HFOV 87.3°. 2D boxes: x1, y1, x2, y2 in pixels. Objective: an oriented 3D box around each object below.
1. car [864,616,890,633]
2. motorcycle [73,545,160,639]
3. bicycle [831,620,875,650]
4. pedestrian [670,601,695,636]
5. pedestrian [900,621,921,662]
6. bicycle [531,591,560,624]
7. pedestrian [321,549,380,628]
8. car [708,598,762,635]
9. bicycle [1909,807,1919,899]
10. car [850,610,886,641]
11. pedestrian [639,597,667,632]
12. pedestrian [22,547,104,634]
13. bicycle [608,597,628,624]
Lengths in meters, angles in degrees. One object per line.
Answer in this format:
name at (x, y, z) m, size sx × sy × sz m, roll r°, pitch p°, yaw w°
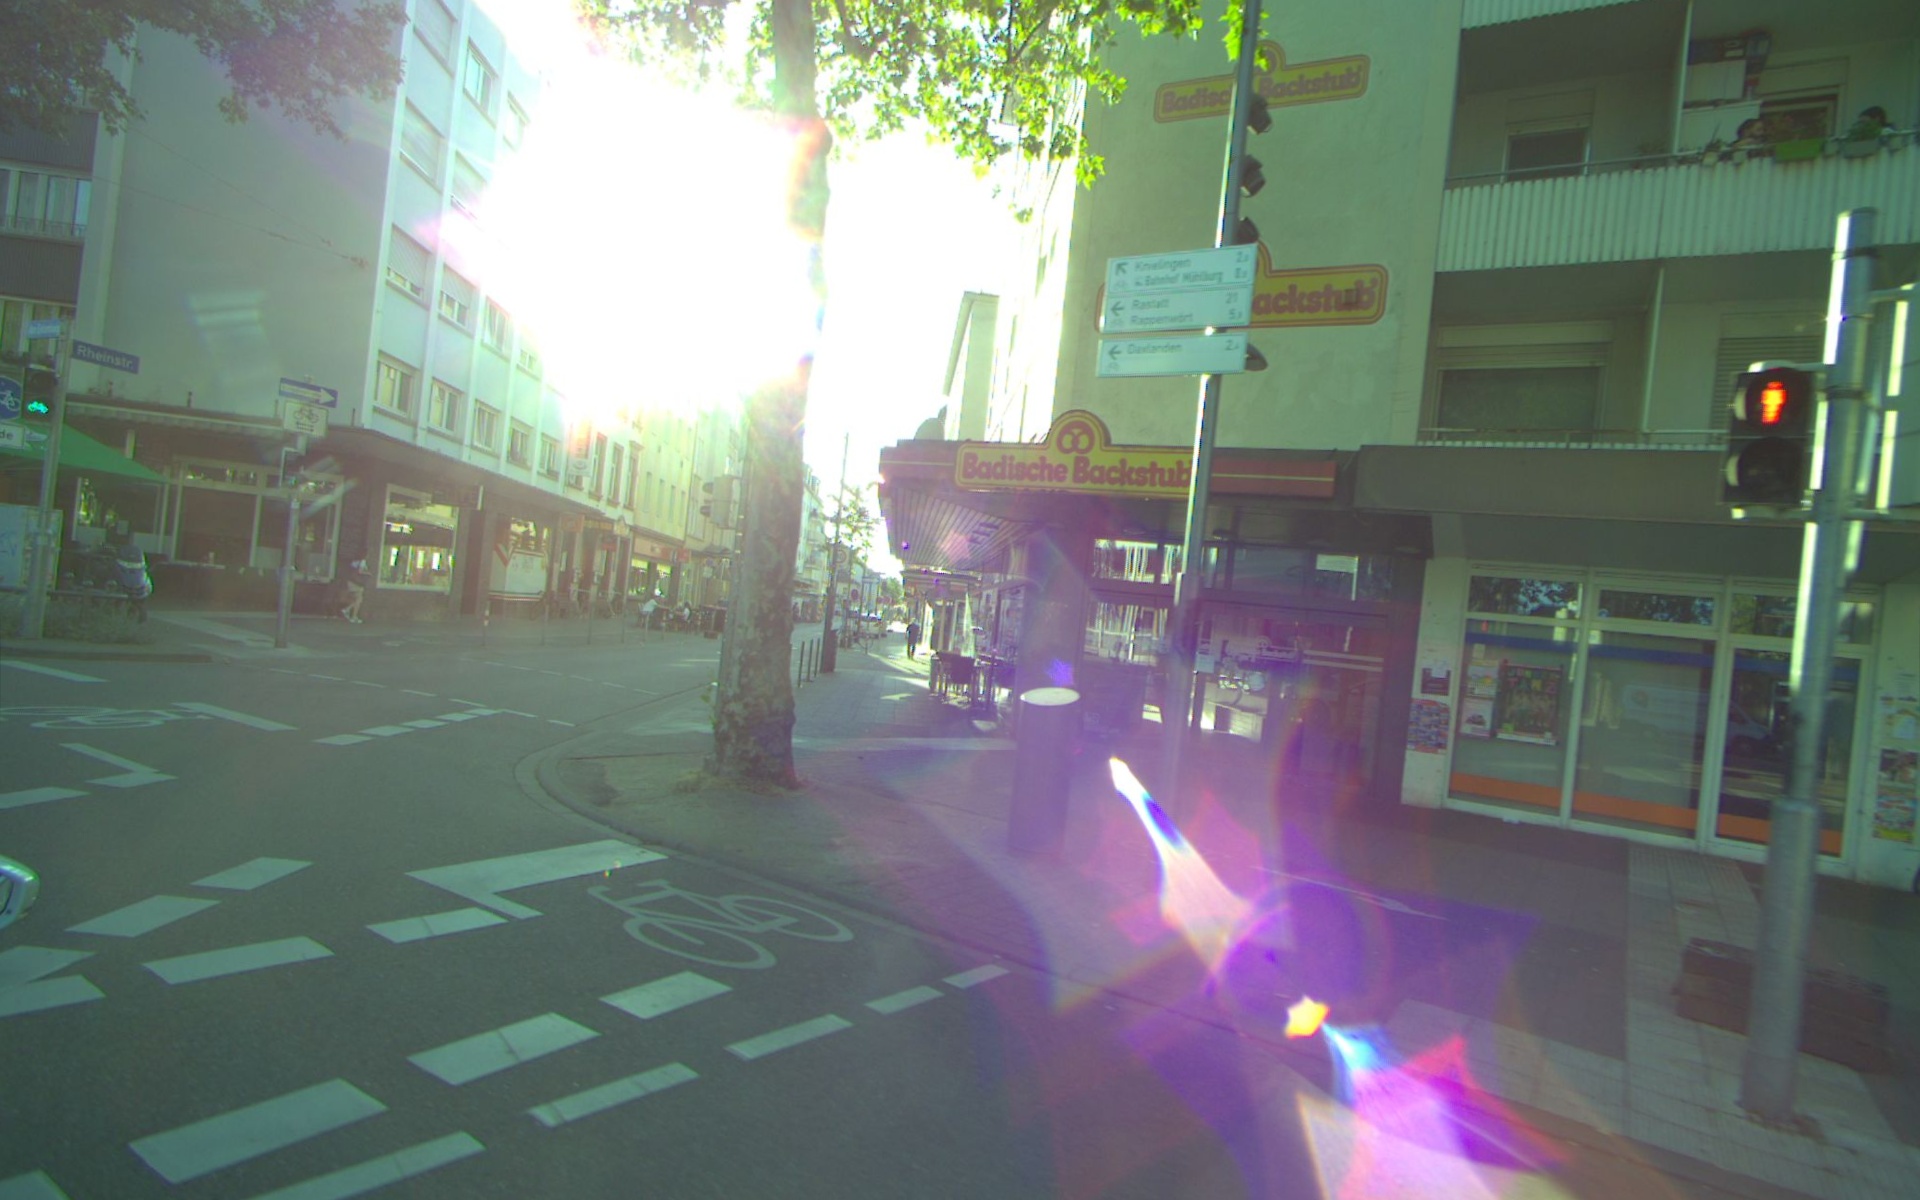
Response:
car at (-7.406, 2.210, 89.734) m, size 1.808 × 1.238 × 4.004 m, roll 8°, pitch -3°, yaw 1°
motorcycle at (-11.824, -0.125, 14.094) m, size 1.440 × 1.171 × 0.570 m, roll 5°, pitch -3°, yaw 40°
bicycle at (-4.899, 1.593, 46.199) m, size 1.877 × 1.138 × 0.509 m, roll 7°, pitch 0°, yaw -4°
pedestrian at (-10.807, 0.729, 39.225) m, size 0.682 × 1.257 × 0.598 m, roll 8°, pitch -2°, yaw -6°
pedestrian at (-2.043, 1.696, 41.428) m, size 0.654 × 1.593 × 0.694 m, roll 8°, pitch -1°, yaw -4°
bicycle at (-13.686, 0.267, 33.214) m, size 0.289 × 1.053 × 1.718 m, roll 4°, pitch -1°, yaw -4°
pedestrian at (-13.096, -0.236, 21.631) m, size 0.703 × 1.566 × 0.604 m, roll 8°, pitch -1°, yaw -3°
car at (-11.157, 0.814, 50.123) m, size 1.809 × 1.513 × 3.999 m, roll 8°, pitch -1°, yaw -3°
bicycle at (9.437, 2.239, 8.836) m, size 1.437 × 1.107 × 0.437 m, roll 6°, pitch 2°, yaw 31°
car at (-6.010, 1.685, 66.148) m, size 1.808 × 1.680 × 4.004 m, roll 8°, pitch -3°, yaw 1°
pedestrian at (-11.880, 0.562, 38.982) m, size 0.720 × 1.257 × 0.551 m, roll 7°, pitch -2°, yaw 31°
pedestrian at (-14.330, -0.146, 16.083) m, size 0.718 × 1.257 × 0.553 m, roll 7°, pitch -2°, yaw 16°
bicycle at (-14.315, 0.426, 42.099) m, size 0.289 × 1.054 × 1.716 m, roll 4°, pitch 2°, yaw -4°
